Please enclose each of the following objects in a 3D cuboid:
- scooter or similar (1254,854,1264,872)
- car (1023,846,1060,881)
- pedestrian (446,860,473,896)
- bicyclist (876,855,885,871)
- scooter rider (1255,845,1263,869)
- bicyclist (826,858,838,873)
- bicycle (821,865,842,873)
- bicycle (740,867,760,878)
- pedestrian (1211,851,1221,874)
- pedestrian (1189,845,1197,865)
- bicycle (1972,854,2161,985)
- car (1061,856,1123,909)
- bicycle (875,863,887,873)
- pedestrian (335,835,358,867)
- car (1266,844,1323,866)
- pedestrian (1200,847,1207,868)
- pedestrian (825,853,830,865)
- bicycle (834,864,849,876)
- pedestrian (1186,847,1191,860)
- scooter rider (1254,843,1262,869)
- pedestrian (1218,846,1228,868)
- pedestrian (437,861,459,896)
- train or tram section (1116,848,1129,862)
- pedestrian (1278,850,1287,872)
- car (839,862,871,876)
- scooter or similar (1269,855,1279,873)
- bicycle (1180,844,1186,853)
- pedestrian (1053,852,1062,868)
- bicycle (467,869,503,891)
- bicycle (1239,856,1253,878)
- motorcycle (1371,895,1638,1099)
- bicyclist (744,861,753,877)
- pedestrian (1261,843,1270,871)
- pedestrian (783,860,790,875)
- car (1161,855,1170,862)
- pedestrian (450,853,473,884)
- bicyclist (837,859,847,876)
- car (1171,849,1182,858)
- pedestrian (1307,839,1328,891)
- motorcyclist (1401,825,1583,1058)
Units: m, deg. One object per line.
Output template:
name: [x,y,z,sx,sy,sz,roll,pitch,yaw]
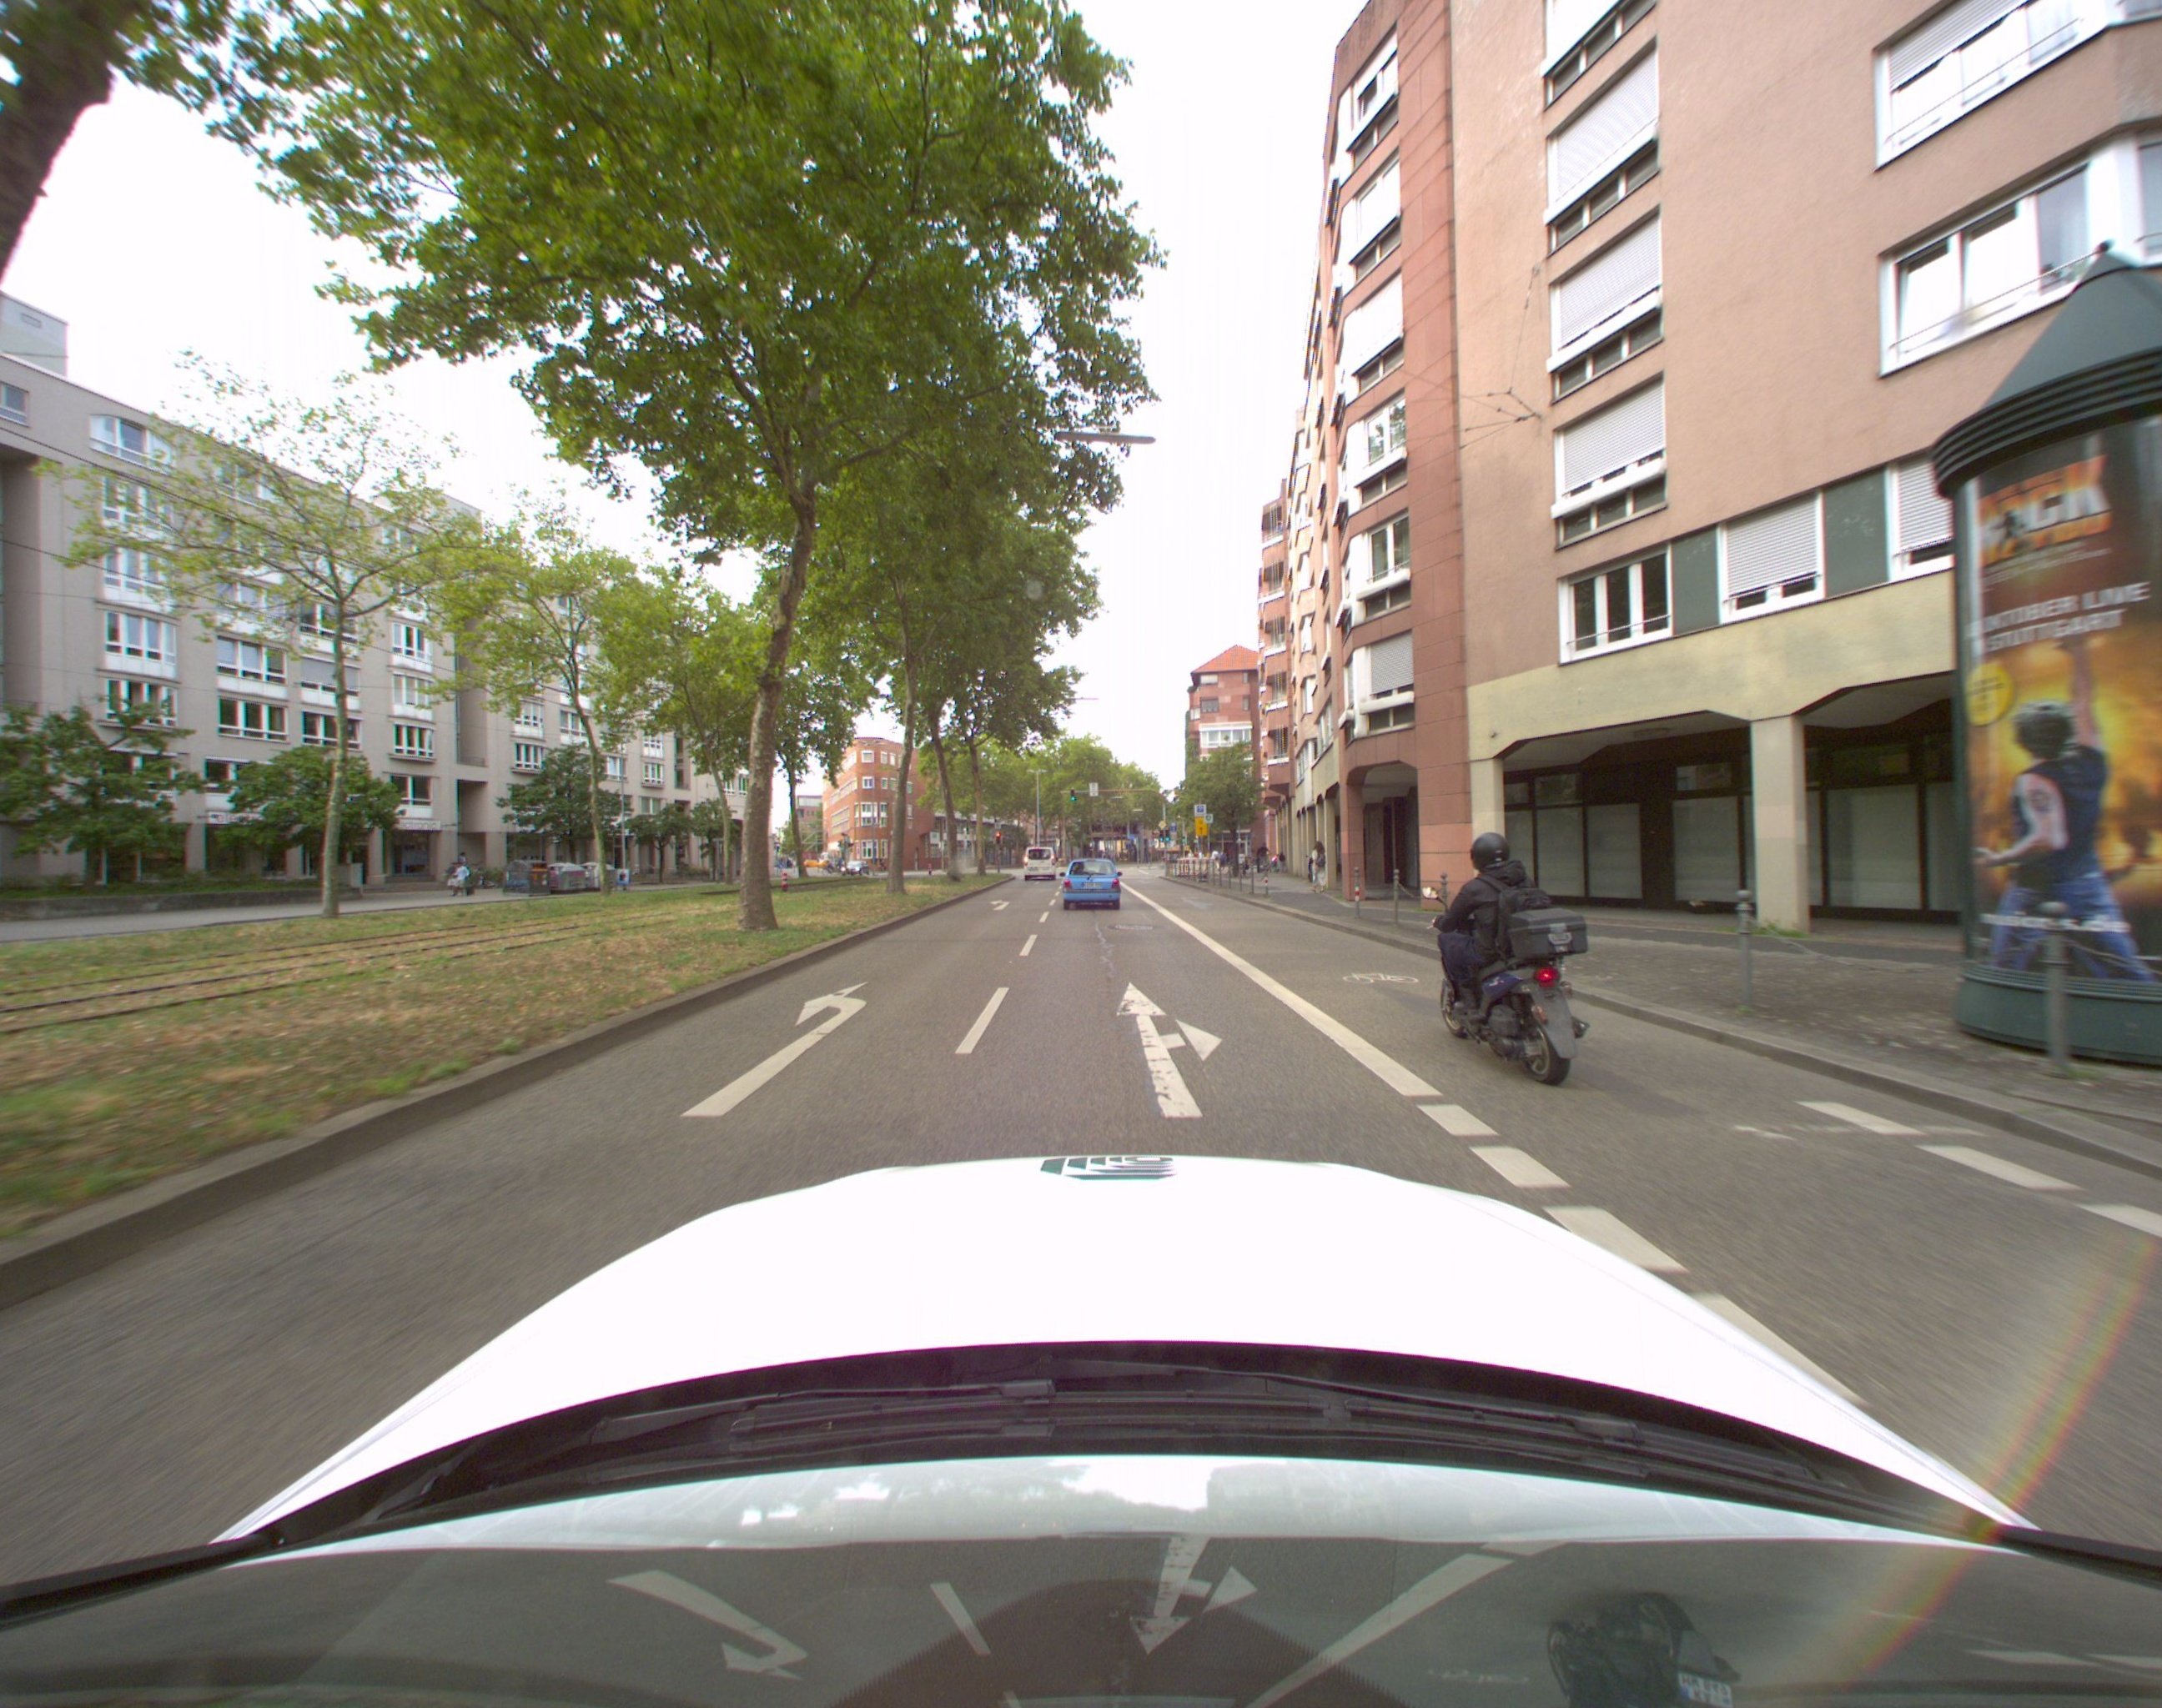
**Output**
scooter or similar: [11.756,0.585,53.810,0.471,1.206,1.332,-1,0,6]
car: [-2.317,0.535,49.108,1.925,1.925,4.955,-1,0,0]
pedestrian: [-30.294,1.174,39.698,0.550,1.705,0.885,-1,0,4]
bicyclist: [-23.449,1.093,95.452,0.663,1.848,1.082,-2,0,4]
scooter rider: [11.709,0.209,53.562,0.458,1.557,0.566,-1,0,5]
bicyclist: [-26.628,1.191,87.121,1.039,1.562,0.576,-1,-1,-37]
bicycle: [-26.680,1.633,87.051,1.997,0.836,0.572,-1,0,-37]
bicycle: [-34.185,1.908,84.091,1.886,1.092,0.571,-1,0,-37]
pedestrian: [10.744,0.664,64.884,0.673,1.828,0.852,-1,0,6]
pedestrian: [8.854,0.088,64.471,0.514,1.616,0.852,-1,0,5]
bicycle: [9.496,0.583,7.491,1.644,1.129,0.674,-3,-1,41]
car: [0.303,0.757,23.610,1.635,1.386,3.843,-1,0,0]
bicycle: [-23.430,1.598,95.412,0.674,1.093,2.212,-2,0,5]
pedestrian: [-39.225,-0.169,43.490,0.633,1.672,0.661,-1,0,8]
car: [19.100,0.069,72.982,4.794,1.826,2.006,-1,-2,12]
pedestrian: [9.642,0.295,64.195,0.514,1.616,0.852,-1,0,6]
pedestrian: [-37.353,0.761,119.959,0.696,1.817,0.650,-1,-1,-27]
bicycle: [-24.209,1.600,82.282,0.687,1.092,1.881,-1,0,7]
pedestrian: [16.658,-0.068,125.891,0.642,1.859,0.785,-1,0,10]
scooter rider: [11.772,0.137,54.152,0.460,1.720,0.553,-1,0,4]
pedestrian: [11.332,0.258,65.003,0.648,1.701,1.024,-1,0,8]
pedestrian: [-30.888,1.192,39.731,0.550,1.705,0.627,-1,0,4]
train or tram section: [10.292,0.233,202.660,2.375,3.254,8.838,-2,-1,8]
pedestrian: [12.596,0.432,50.945,0.483,1.324,0.487,-1,0,14]
car: [-21.295,1.400,76.868,1.724,1.245,4.533,-1,0,-1]
scooter or similar: [12.729,0.648,53.684,0.550,1.170,1.410,-1,0,9]
bicycle: [11.796,-0.666,94.587,0.614,1.008,1.738,-1,0,6]
pedestrian: [-2.505,0.690,88.030,0.547,1.718,0.896,-1,-1,26]
bicycle: [-34.346,1.474,46.994,0.530,1.212,1.843,-1,0,7]
bicycle: [8.868,0.694,43.828,0.609,1.118,1.808,-1,0,7]
motorcycle: [2.940,0.910,6.002,0.765,1.107,2.207,-2,-1,-1]
bicyclist: [-34.309,1.531,84.010,0.788,1.673,0.567,-1,0,-37]
pedestrian: [12.244,0.212,54.023,0.548,1.799,0.659,-1,0,11]
pedestrian: [-39.317,1.796,108.825,0.794,1.964,0.799,-1,0,-25]
car: [20.842,1.087,200.530,1.874,1.624,4.013,-1,0,12]
pedestrian: [-36.088,0.838,47.446,0.765,1.809,0.694,-1,0,9]
bicyclist: [-24.192,1.357,82.448,0.686,1.673,0.955,-1,0,7]
car: [17.062,-0.039,145.282,1.687,1.601,4.013,-1,0,12]
pedestrian: [7.640,0.352,26.336,0.540,1.650,0.827,-1,0,11]
motorcyclist: [2.925,0.584,5.907,0.757,1.519,1.017,-2,-1,-1]
